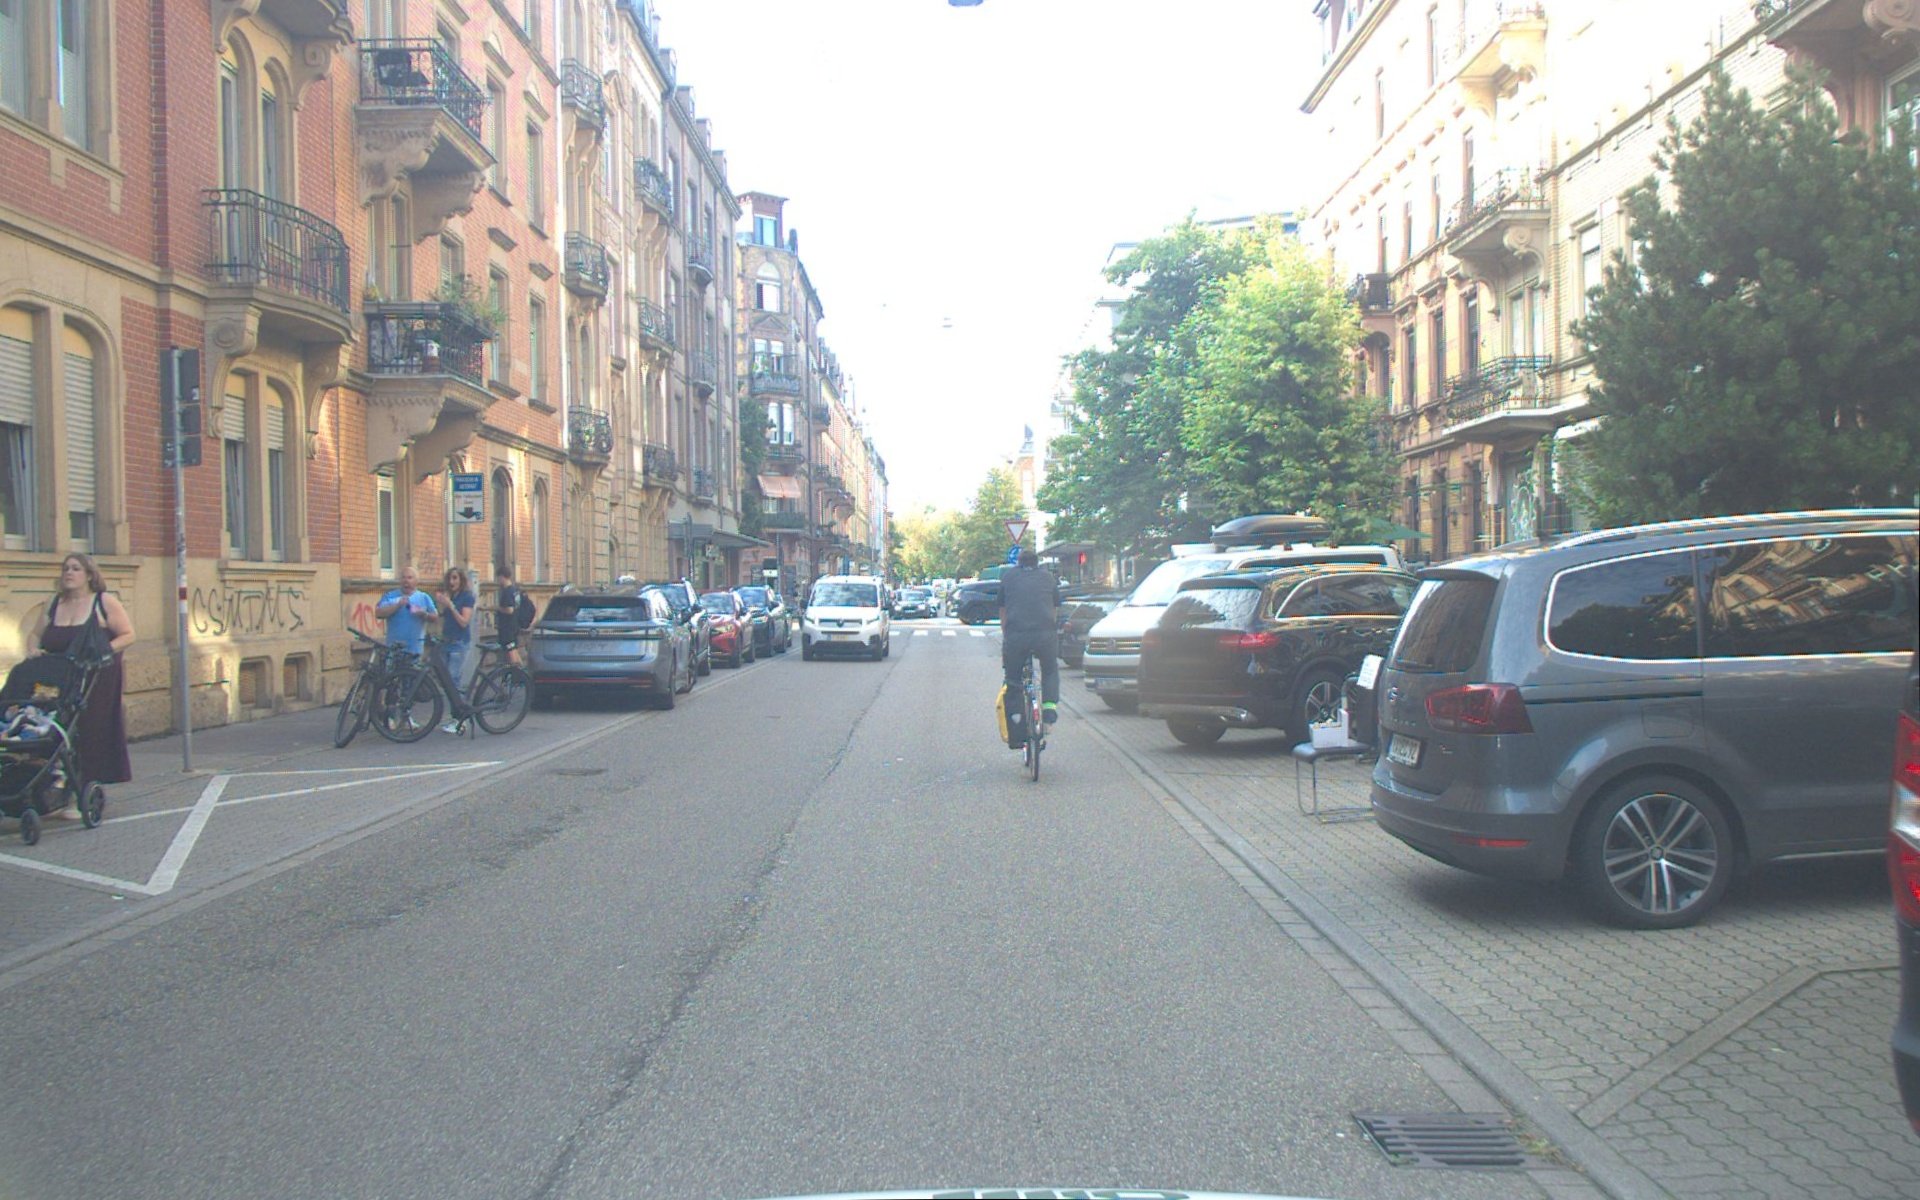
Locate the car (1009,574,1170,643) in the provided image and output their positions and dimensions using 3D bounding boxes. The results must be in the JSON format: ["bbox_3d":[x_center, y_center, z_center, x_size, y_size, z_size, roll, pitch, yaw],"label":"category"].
[{"bbox_3d":[3.730,0.218,47.578,4.290,1.673,1.806,-4,1,-27],"label":"car"}]

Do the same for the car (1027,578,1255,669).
[{"bbox_3d":[3.671,0.425,33.177,4.419,1.489,1.856,-4,2,-36],"label":"car"}]

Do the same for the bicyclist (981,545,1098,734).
[{"bbox_3d":[0.642,0.318,13.645,0.914,1.510,0.747,0,0,-1],"label":"bicyclist"}]

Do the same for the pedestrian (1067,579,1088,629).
[{"bbox_3d":[4.217,0.139,59.400,0.615,1.769,0.776,-1,0,12],"label":"pedestrian"}]

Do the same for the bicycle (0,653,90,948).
[{"bbox_3d":[-4.711,0.836,6.405,0.792,1.179,2.261,1,0,36],"label":"bicycle"}]

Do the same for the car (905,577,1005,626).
[{"bbox_3d":[-0.198,0.049,65.756,3.906,1.914,1.999,0,0,-2],"label":"car"}]

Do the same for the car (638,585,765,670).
[{"bbox_3d":[-5.169,0.514,33.587,1.953,1.572,4.425,-1,0,-1],"label":"car"}]

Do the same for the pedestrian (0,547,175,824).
[{"bbox_3d":[-5.610,0.519,10.521,0.894,1.690,0.826,0,0,-9],"label":"pedestrian"}]

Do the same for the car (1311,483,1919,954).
[{"bbox_3d":[4.171,0.388,7.839,4.544,1.815,1.810,-4,2,-2],"label":"car"}]

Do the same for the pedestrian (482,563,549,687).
[{"bbox_3d":[-6.722,0.363,25.059,0.740,1.839,0.863,1,0,3],"label":"pedestrian"}]

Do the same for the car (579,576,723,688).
[{"bbox_3d":[-5.092,0.463,27.851,1.836,1.710,4.890,0,1,-4],"label":"car"}]

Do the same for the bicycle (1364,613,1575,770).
[{"bbox_3d":[4.183,0.719,13.714,0.400,1.203,1.848,-2,0,-31],"label":"bicycle"}]

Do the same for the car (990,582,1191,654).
[{"bbox_3d":[3.293,0.413,41.594,4.701,1.482,2.037,-4,2,-29],"label":"car"}]

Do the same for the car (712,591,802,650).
[{"bbox_3d":[-5.333,0.504,43.931,1.953,1.445,4.243,-1,0,-1],"label":"car"}]

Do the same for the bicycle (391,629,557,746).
[{"bbox_3d":[-4.807,0.840,16.490,0.472,1.078,1.904,1,0,23],"label":"bicycle"}]

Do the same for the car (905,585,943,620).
[{"bbox_3d":[-2.030,0.098,94.474,1.902,1.752,4.851,-2,2,1],"label":"car"}]

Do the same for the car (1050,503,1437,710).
[{"bbox_3d":[3.801,0.011,21.747,5.098,2.447,1.895,-2,0,-34],"label":"car"}]

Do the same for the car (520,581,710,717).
[{"bbox_3d":[-4.476,0.568,22.203,1.789,1.606,5.259,0,0,-4],"label":"car"}]

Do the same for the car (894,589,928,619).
[{"bbox_3d":[-2.516,0.218,84.734,1.715,1.461,4.210,0,0,-2],"label":"car"}]

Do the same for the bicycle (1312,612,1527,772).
[{"bbox_3d":[3.697,0.708,13.469,0.400,1.203,1.897,-2,0,-31],"label":"bicycle"}]

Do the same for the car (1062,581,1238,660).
[{"bbox_3d":[4.173,0.418,36.064,3.684,1.511,1.717,-3,1,-39],"label":"car"}]

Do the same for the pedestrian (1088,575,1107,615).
[{"bbox_3d":[6.461,-0.237,77.853,0.850,1.883,0.613,-1,0,4],"label":"pedestrian"}]

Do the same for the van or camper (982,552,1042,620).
[{"bbox_3d":[2.427,-0.676,79.034,2.481,3.090,4.456,-1,0,-3],"label":"van or camper"}]

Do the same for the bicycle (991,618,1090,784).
[{"bbox_3d":[0.625,0.763,13.555,0.652,1.198,2.497,0,0,-1],"label":"bicycle"}]

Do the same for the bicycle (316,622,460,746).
[{"bbox_3d":[-5.546,0.785,16.159,0.482,1.114,1.906,1,0,8],"label":"bicycle"}]

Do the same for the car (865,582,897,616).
[{"bbox_3d":[-4.979,-0.088,104.554,1.954,2.049,3.998,-1,0,-3],"label":"car"}]

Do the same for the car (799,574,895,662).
[{"bbox_3d":[-2.491,0.381,37.367,1.878,1.860,4.438,0,0,0],"label":"car"}]

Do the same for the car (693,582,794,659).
[{"bbox_3d":[-5.033,0.454,39.061,1.754,1.657,4.846,-1,0,-1],"label":"car"}]

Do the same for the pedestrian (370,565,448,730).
[{"bbox_3d":[-5.790,0.484,17.366,0.672,1.690,0.545,0,0,-31],"label":"pedestrian"}]

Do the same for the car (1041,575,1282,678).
[{"bbox_3d":[3.738,0.440,30.275,4.429,1.502,1.862,-5,3,-41],"label":"car"}]

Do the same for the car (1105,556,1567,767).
[{"bbox_3d":[3.702,0.488,15.980,4.408,1.762,1.975,-1,1,-36],"label":"car"}]

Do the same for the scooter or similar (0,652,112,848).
[{"bbox_3d":[-5.535,0.864,9.806,0.593,1.073,0.921,1,0,-6],"label":"scooter or similar"}]

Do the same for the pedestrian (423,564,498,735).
[{"bbox_3d":[-5.210,0.497,17.244,0.559,1.739,0.659,0,0,-36],"label":"pedestrian"}]

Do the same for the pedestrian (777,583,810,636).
[{"bbox_3d":[-5.782,0.335,57.337,0.769,1.811,0.789,-1,0,38],"label":"pedestrian"}]

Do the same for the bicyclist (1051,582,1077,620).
[{"bbox_3d":[4.717,0.058,74.926,0.842,1.694,0.785,1,0,42],"label":"bicyclist"}]

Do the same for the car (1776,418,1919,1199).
[{"bbox_3d":[4.083,0.445,4.021,4.349,1.854,1.735,-3,0,-33],"label":"car"}]
